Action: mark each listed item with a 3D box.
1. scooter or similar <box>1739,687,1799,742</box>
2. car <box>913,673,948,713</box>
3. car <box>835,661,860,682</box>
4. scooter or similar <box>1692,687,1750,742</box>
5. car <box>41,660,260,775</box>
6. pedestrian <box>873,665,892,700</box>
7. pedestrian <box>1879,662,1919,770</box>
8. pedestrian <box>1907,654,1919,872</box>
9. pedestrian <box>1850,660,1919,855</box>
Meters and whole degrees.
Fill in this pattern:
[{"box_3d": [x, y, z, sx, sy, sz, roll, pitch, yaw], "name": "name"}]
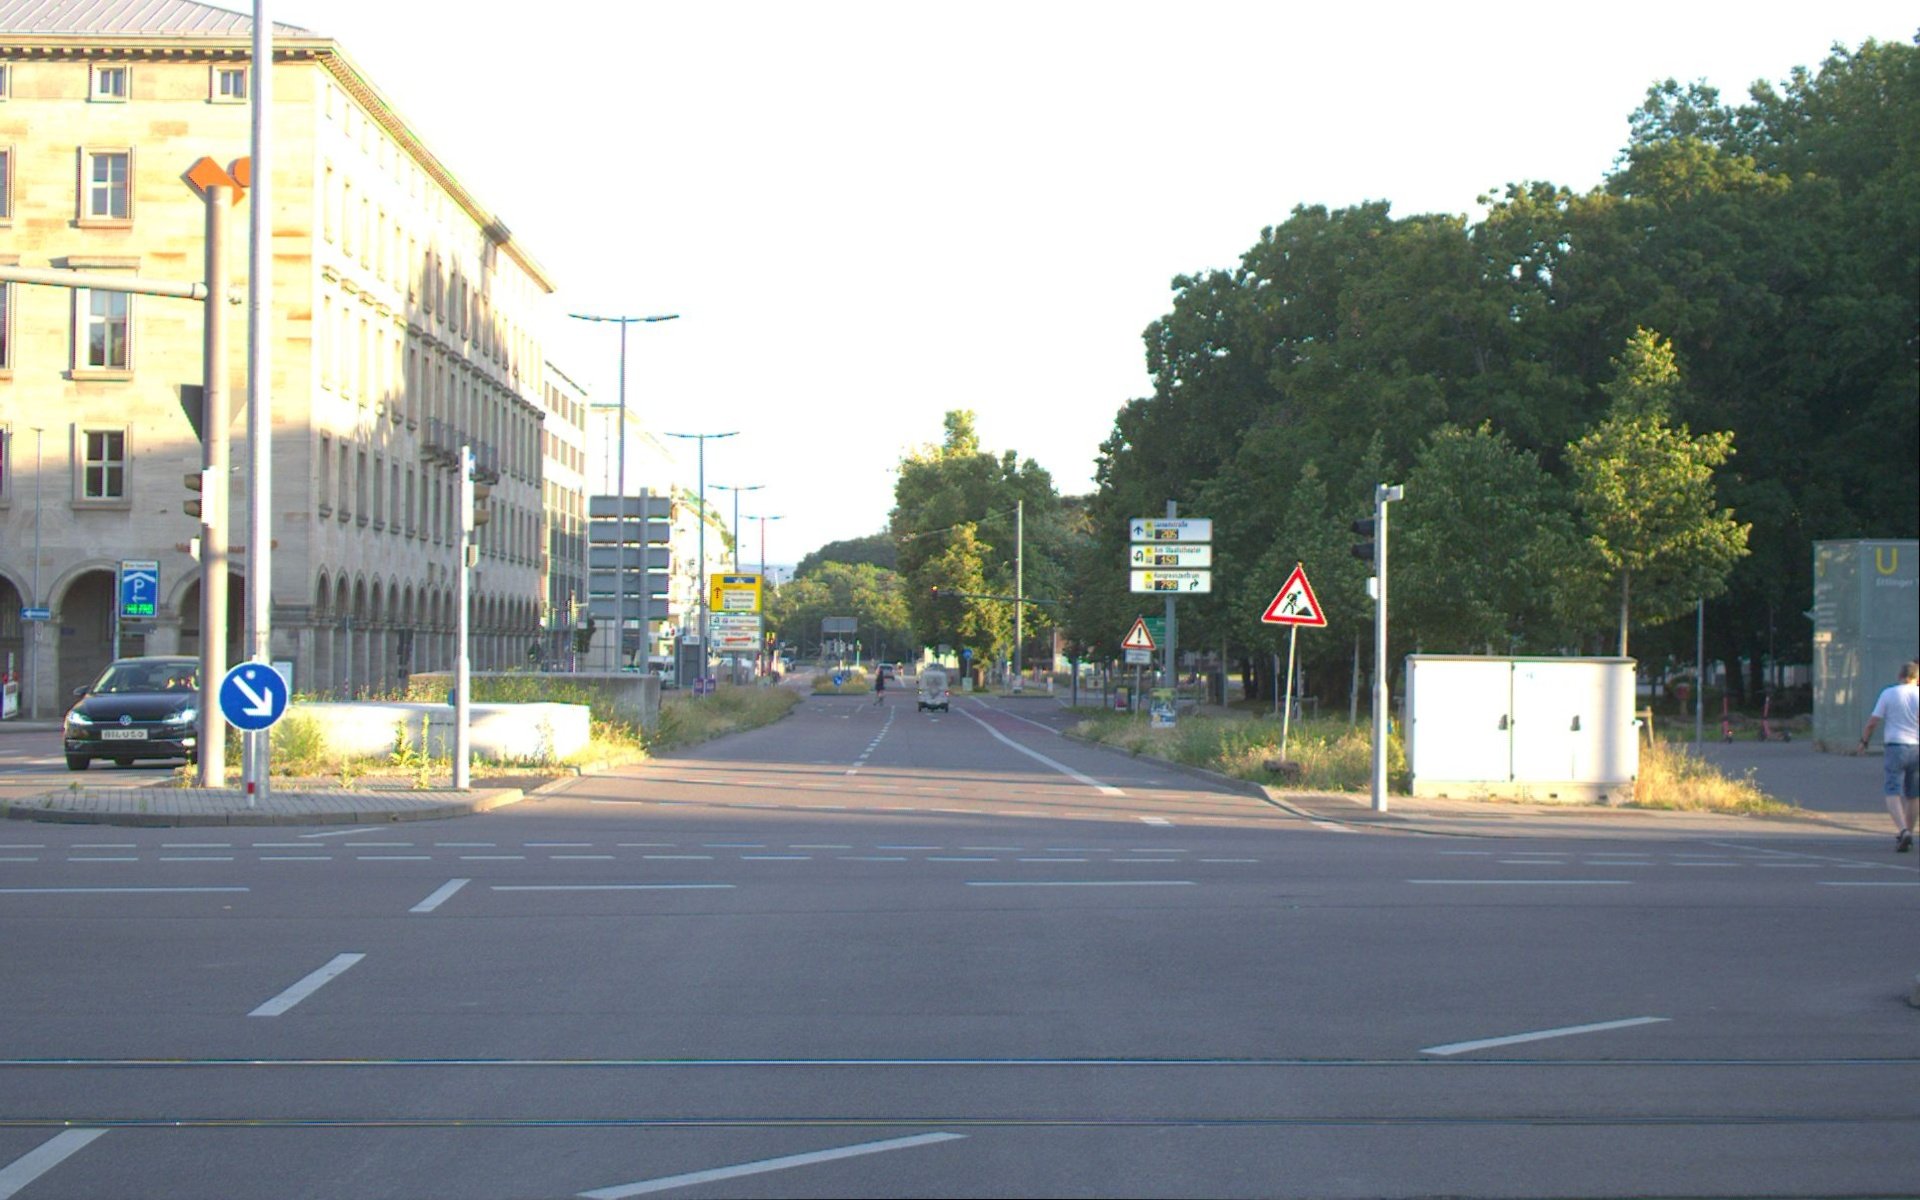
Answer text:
[{"box_3d": [18.644, 2.636, 79.293, 0.569, 1.199, 2.984, 1, -1, -2], "name": "scooter or similar"}, {"box_3d": [-1.269, 4.016, 148.503, 1.483, 1.690, 2.974, 0, -1, -1], "name": "car"}, {"box_3d": [-6.772, 4.313, 207.052, 1.370, 1.230, 3.045, 1, 0, 0], "name": "car"}, {"box_3d": [17.502, 2.627, 79.140, 0.569, 1.199, 2.984, 1, -1, -2], "name": "scooter or similar"}, {"box_3d": [-10.324, 1.476, 44.114, 1.823, 1.337, 4.000, 1, 0, 1], "name": "car"}, {"box_3d": [-3.757, 3.970, 166.260, 0.906, 1.665, 1.307, 1, 0, -2], "name": "pedestrian"}, {"box_3d": [16.281, 1.991, 59.355, 0.666, 1.836, 0.713, 0, 0, 4], "name": "pedestrian"}, {"box_3d": [8.024, 1.298, 27.584, 0.711, 1.719, 0.914, 1, -1, 9], "name": "pedestrian"}, {"box_3d": [8.418, 1.413, 31.054, 0.711, 1.719, 0.668, 0, -1, 16], "name": "pedestrian"}]
